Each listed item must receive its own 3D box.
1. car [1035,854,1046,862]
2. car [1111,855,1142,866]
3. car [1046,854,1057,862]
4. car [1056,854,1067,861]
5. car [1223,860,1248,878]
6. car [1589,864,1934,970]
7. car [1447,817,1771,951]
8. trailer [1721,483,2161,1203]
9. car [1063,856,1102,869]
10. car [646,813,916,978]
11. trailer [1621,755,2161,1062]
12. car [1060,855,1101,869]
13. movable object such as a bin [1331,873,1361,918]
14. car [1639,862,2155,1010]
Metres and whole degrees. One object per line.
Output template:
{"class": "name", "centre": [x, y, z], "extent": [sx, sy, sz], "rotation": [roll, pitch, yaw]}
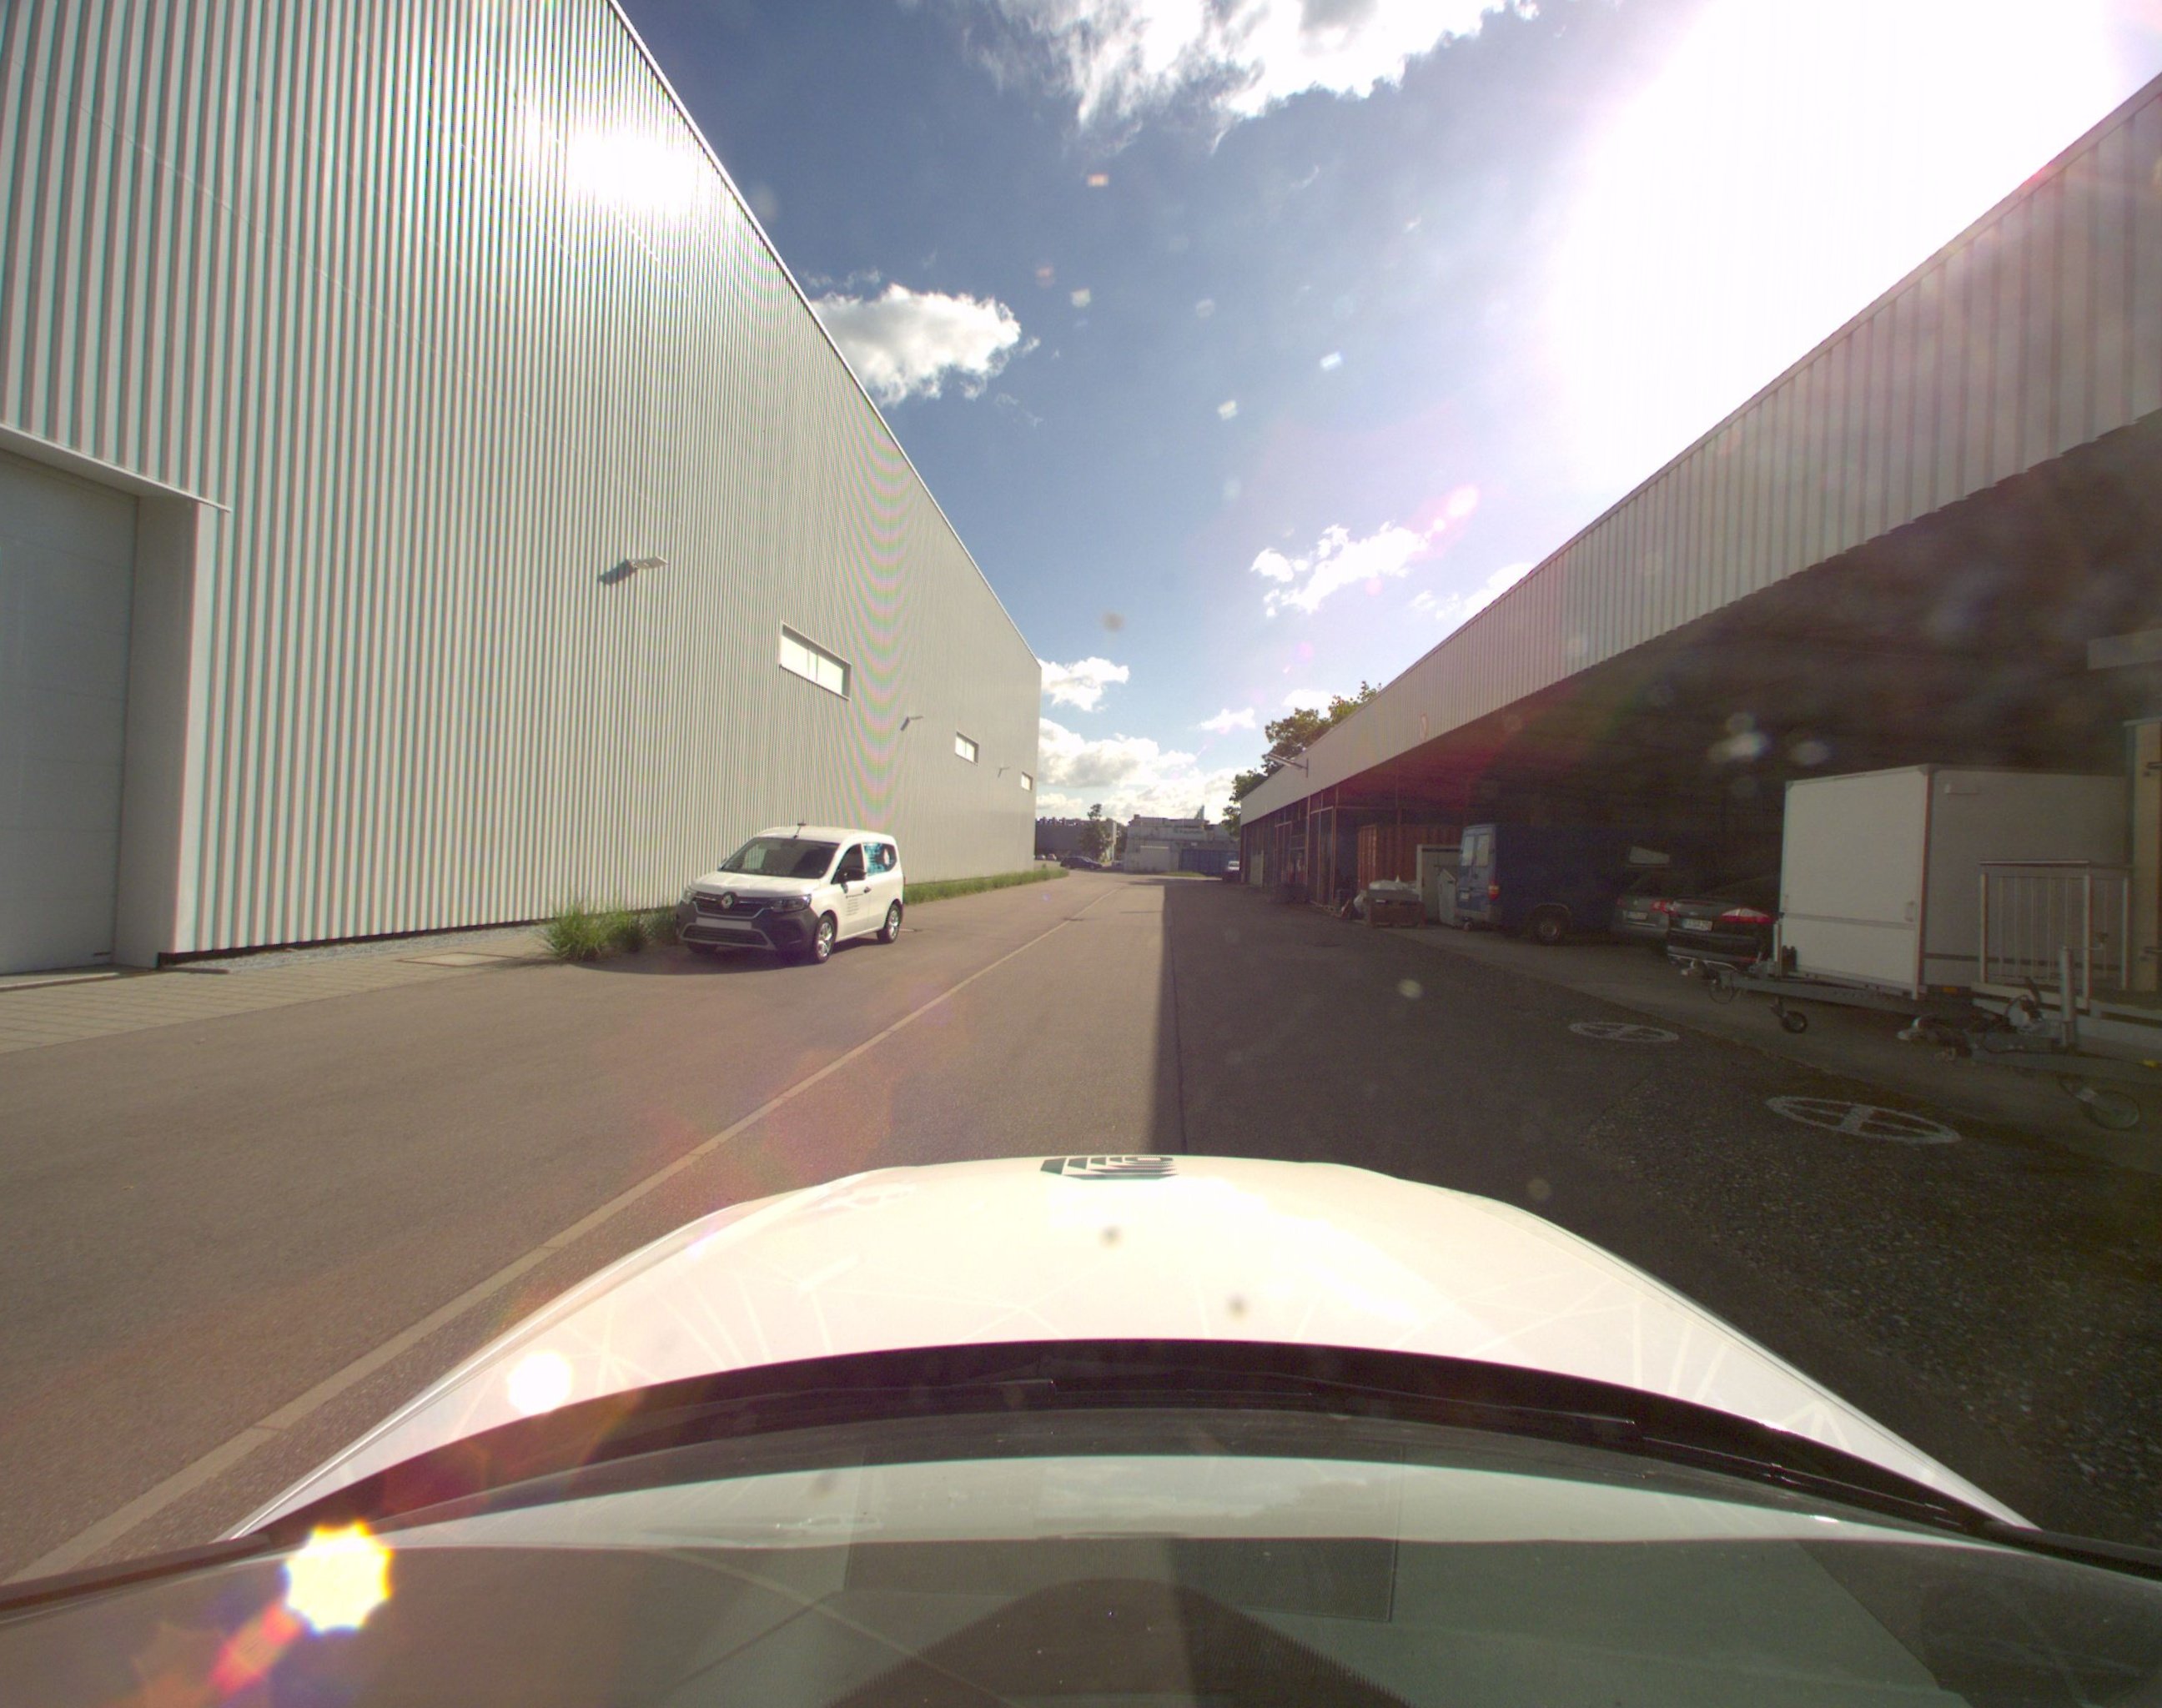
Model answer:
{"class": "car", "centre": [-9.539, 0.922, 192.295], "extent": [1.984, 1.736, 4.005], "rotation": [0, -1, 5]}
{"class": "car", "centre": [6.787, 0.996, 121.332], "extent": [4.503, 1.508, 1.912], "rotation": [2, 0, 6]}
{"class": "car", "centre": [-6.940, 0.901, 192.417], "extent": [2.183, 1.736, 4.005], "rotation": [0, -1, 5]}
{"class": "car", "centre": [-4.575, 0.854, 190.493], "extent": [2.183, 1.736, 4.005], "rotation": [0, -1, 5]}
{"class": "car", "centre": [15.147, 1.434, 80.039], "extent": [1.984, 1.585, 4.179], "rotation": [2, 1, 5]}
{"class": "car", "centre": [10.598, 0.934, 12.906], "extent": [3.973, 1.472, 1.788], "rotation": [1, 0, 1]}
{"class": "car", "centre": [10.104, 0.530, 15.957], "extent": [4.954, 2.325, 2.003], "rotation": [1, 0, 5]}
{"class": "trailer", "centre": [9.941, 0.037, 4.638], "extent": [9.989, 3.216, 2.858], "rotation": [1, 0, 5]}
{"class": "car", "centre": [0.208, 1.001, 97.411], "extent": [4.501, 1.508, 1.913], "rotation": [1, 0, 7]}
{"class": "car", "centre": [-4.038, 0.498, 11.918], "extent": [1.881, 1.845, 4.364], "rotation": [4, 0, 5]}
{"class": "trailer", "centre": [7.952, 0.418, 7.362], "extent": [4.783, 2.391, 1.832], "rotation": [1, 0, 10]}
{"class": "car", "centre": [-0.081, 0.960, 94.183], "extent": [4.501, 1.508, 1.913], "rotation": [1, 0, 7]}
{"class": "movable object such as a bin", "centre": [7.119, 1.100, 21.918], "extent": [0.578, 1.164, 1.241], "rotation": [1, 0, 10]}
{"class": "car", "centre": [9.474, 0.891, 9.759], "extent": [4.311, 1.496, 1.778], "rotation": [1, 0, 3]}
